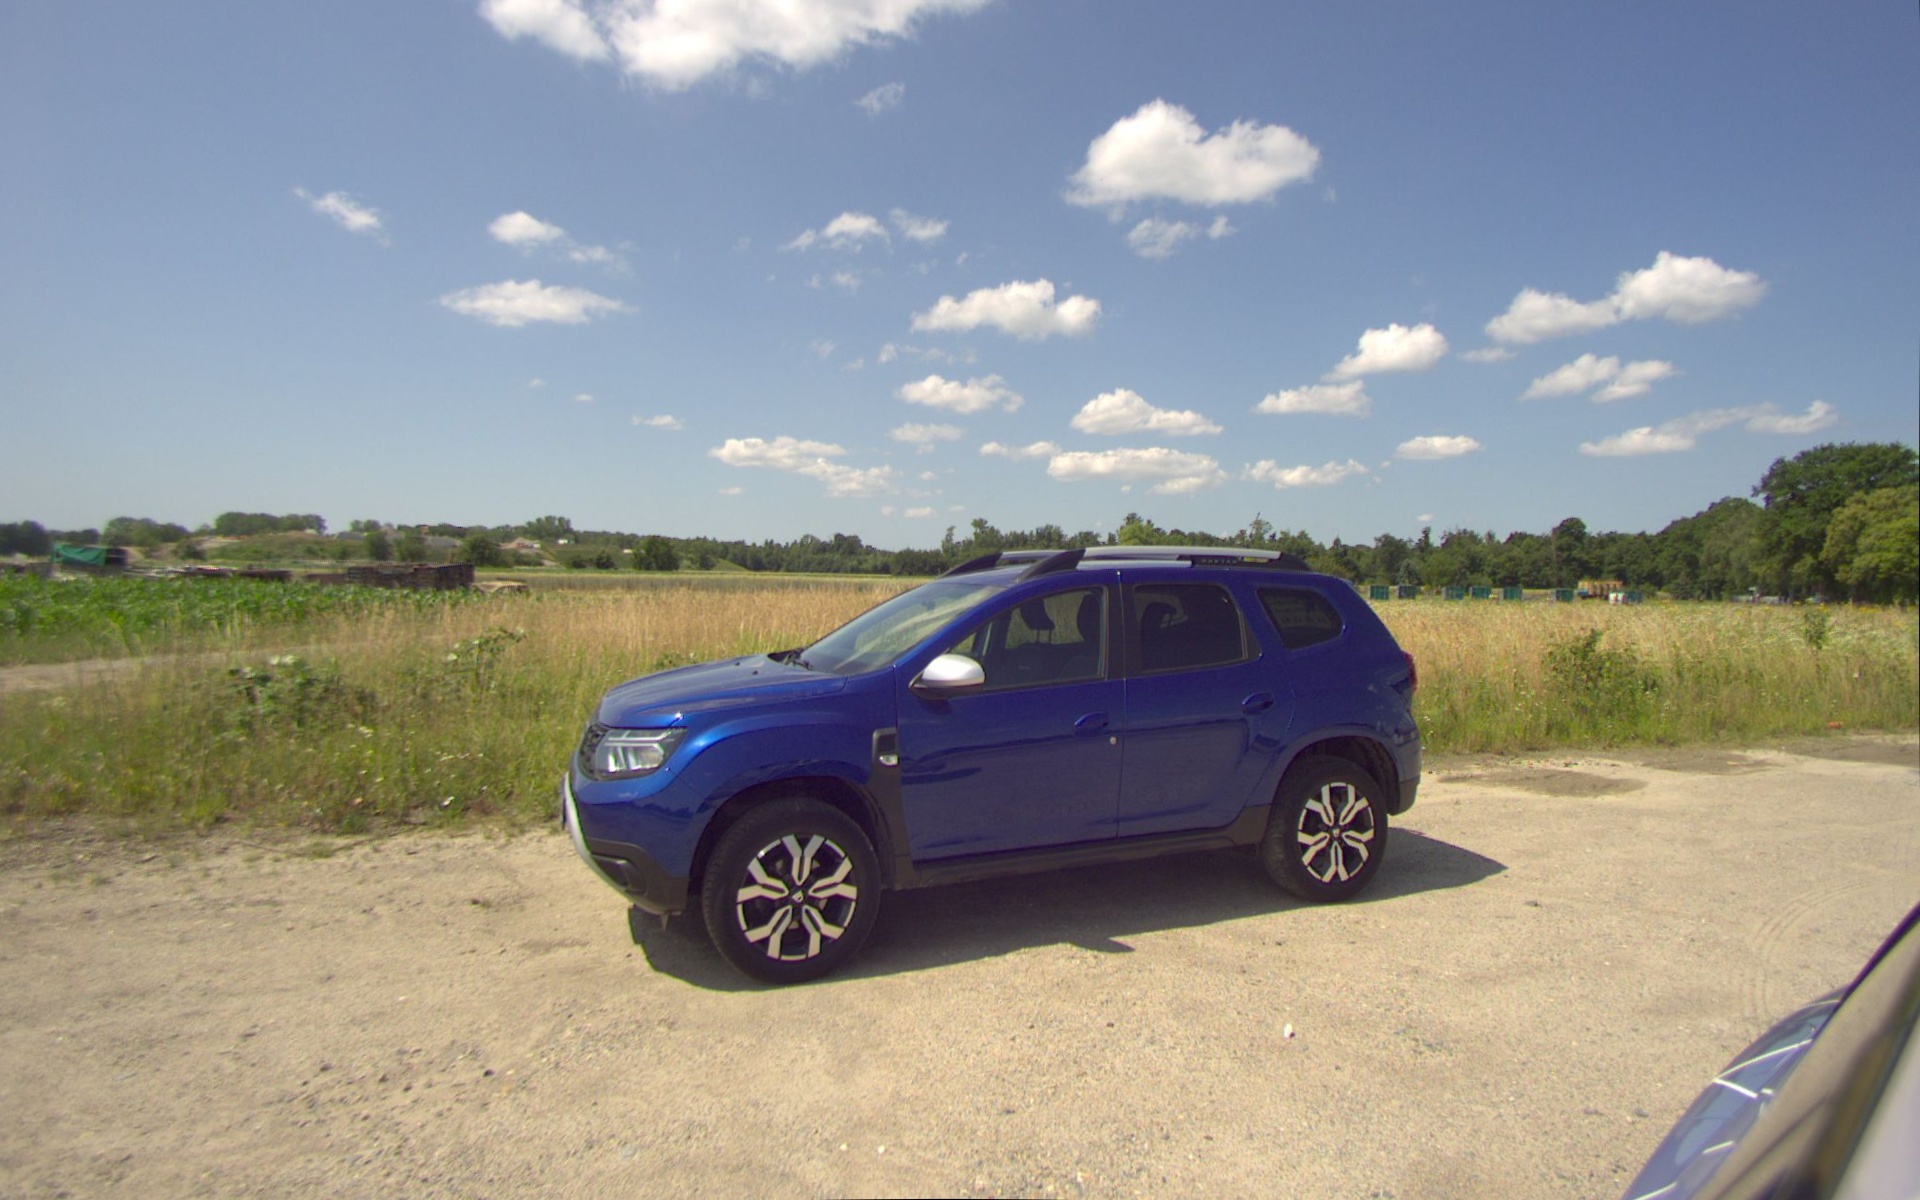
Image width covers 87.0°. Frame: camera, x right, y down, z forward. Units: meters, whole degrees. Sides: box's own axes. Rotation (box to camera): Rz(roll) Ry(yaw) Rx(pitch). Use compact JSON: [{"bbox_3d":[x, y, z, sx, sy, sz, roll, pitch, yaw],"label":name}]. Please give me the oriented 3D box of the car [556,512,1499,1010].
[{"bbox_3d":[0.316,0.515,5.098,4.365,1.682,1.868,0,1,-22],"label":"car"}]
